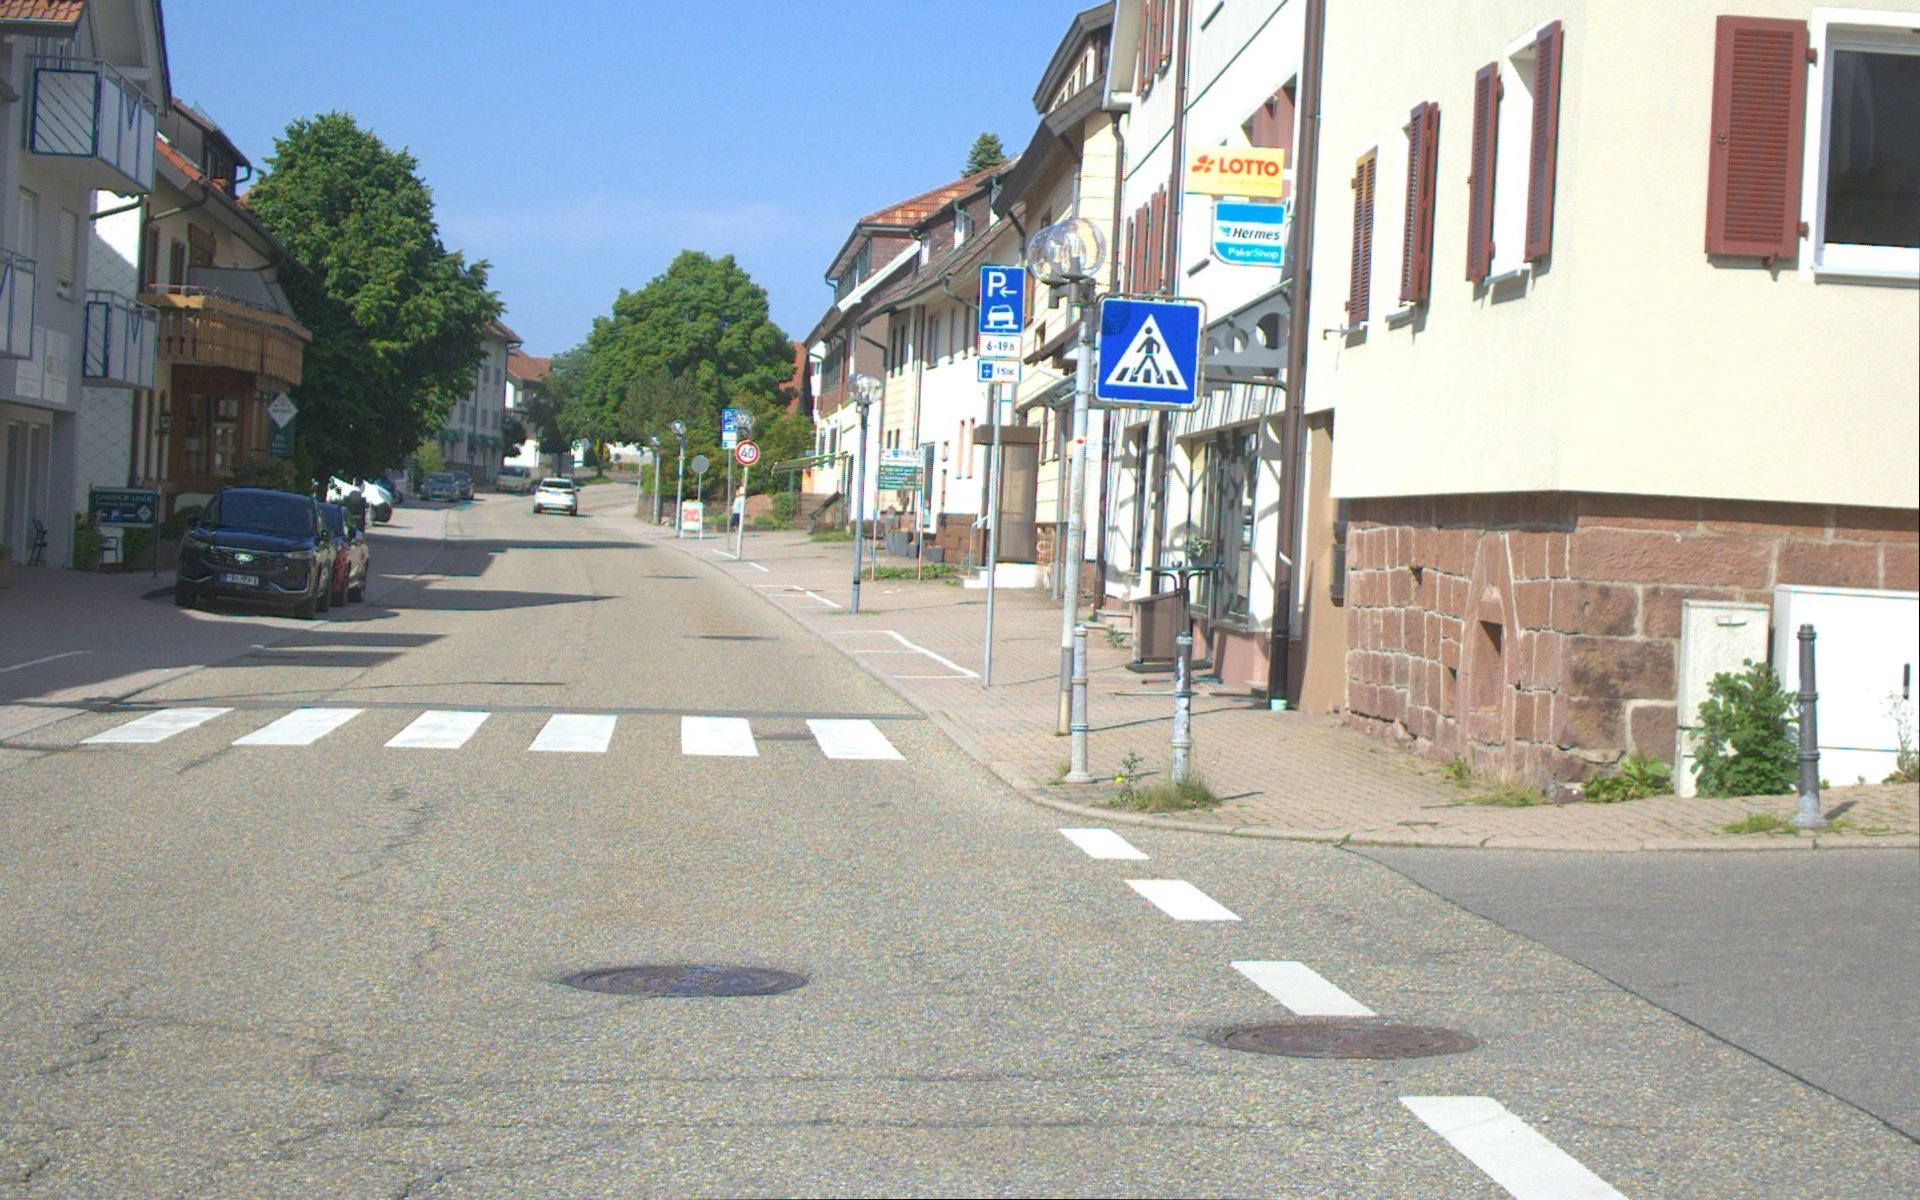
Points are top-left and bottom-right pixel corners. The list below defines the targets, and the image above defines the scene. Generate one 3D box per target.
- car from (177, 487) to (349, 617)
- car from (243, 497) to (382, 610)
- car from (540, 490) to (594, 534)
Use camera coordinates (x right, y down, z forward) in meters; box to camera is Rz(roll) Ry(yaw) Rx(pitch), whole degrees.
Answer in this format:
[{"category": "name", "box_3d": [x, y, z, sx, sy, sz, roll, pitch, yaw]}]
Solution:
[{"category": "car", "box_3d": [-9.471, -0.671, 46.928, 1.672, 1.528, 3.536, 6, 1, -4]}, {"category": "car", "box_3d": [-9.850, -0.716, 52.442, 1.670, 1.668, 3.312, 0, 1, -3]}, {"category": "car", "box_3d": [-18.686, -4.168, 163.448, 2.495, 2.007, 4.305, 0, 1, -7]}]
